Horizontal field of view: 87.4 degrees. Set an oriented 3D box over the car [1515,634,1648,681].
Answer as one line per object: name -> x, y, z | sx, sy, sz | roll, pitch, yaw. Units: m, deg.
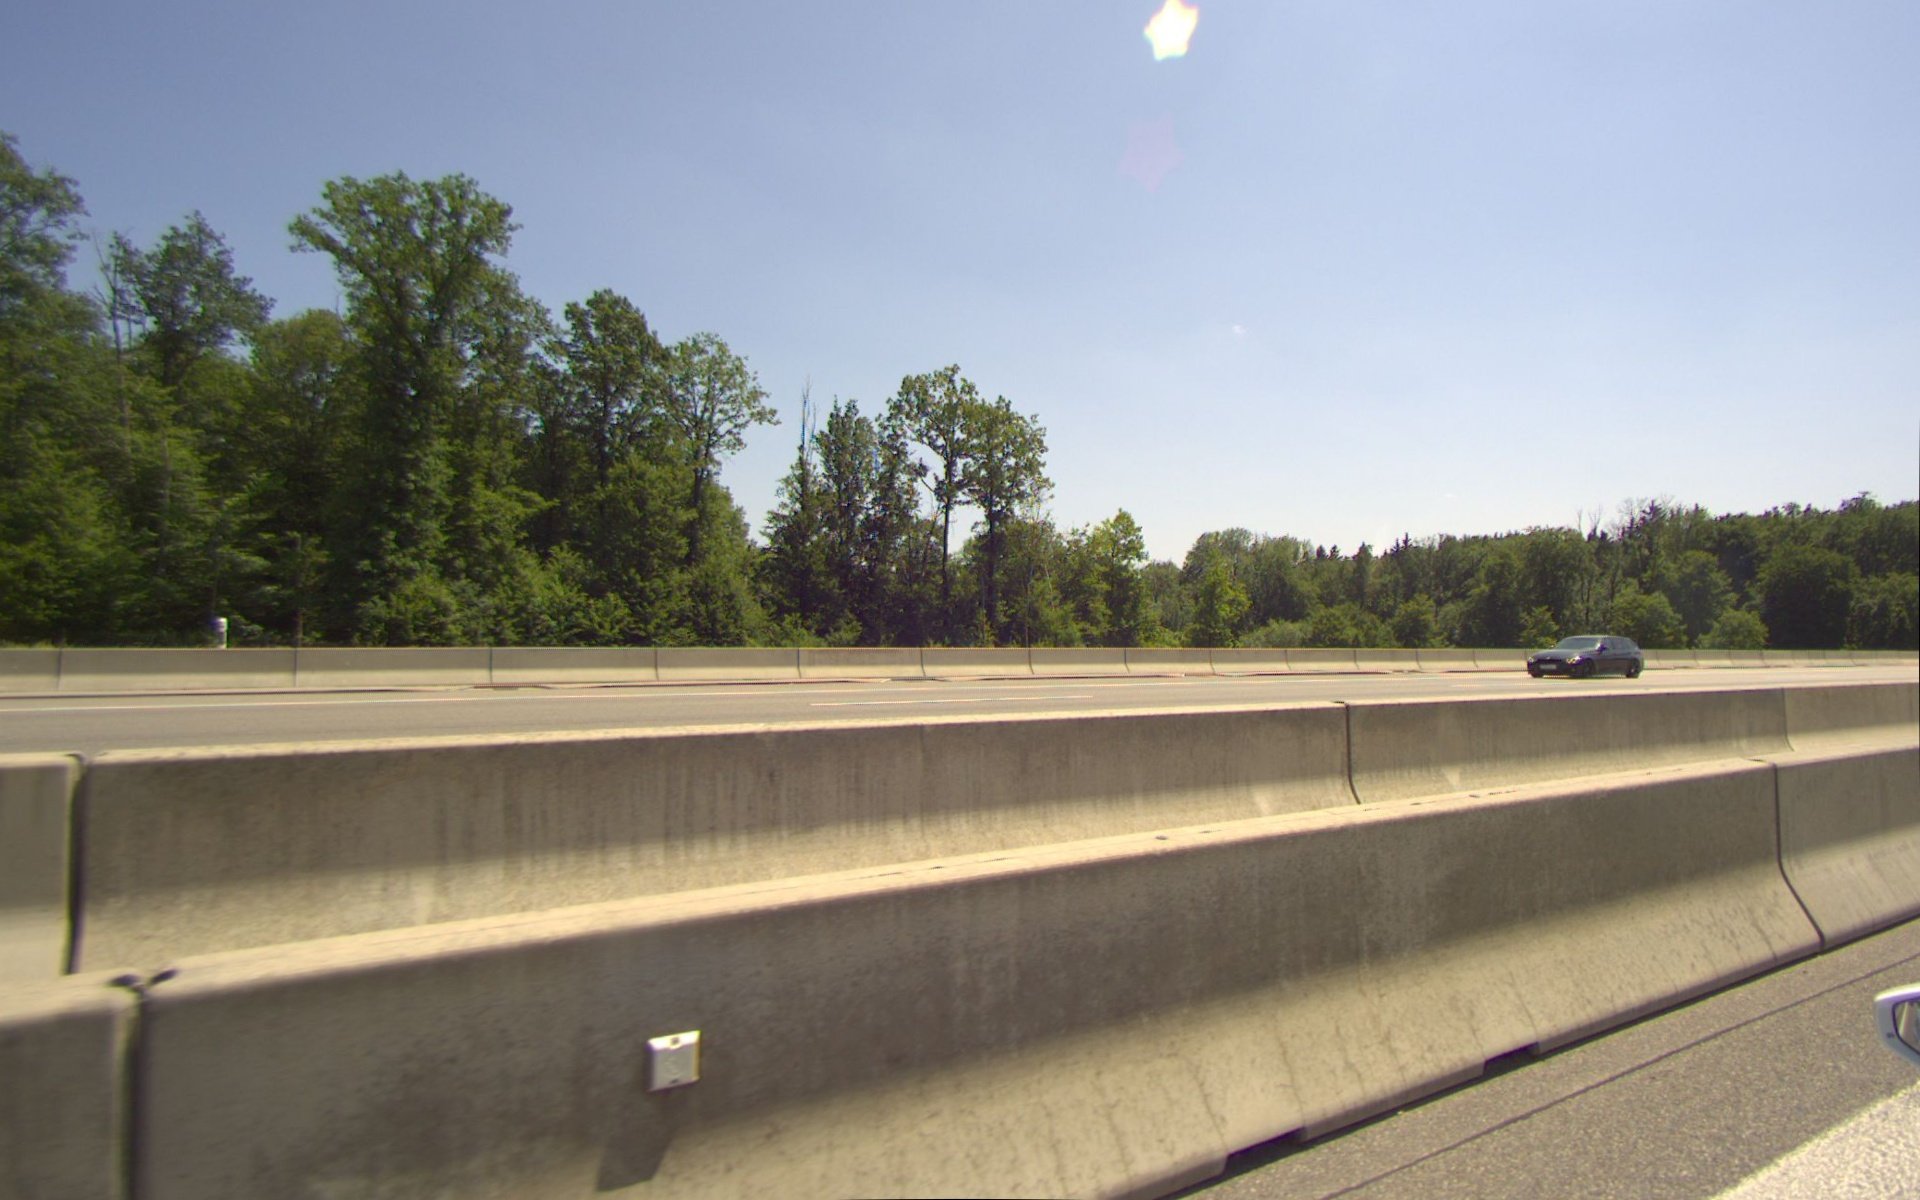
car -> 20.563, 1.863, 33.185 | 4.710, 1.460, 1.830 | 2, -3, -31
